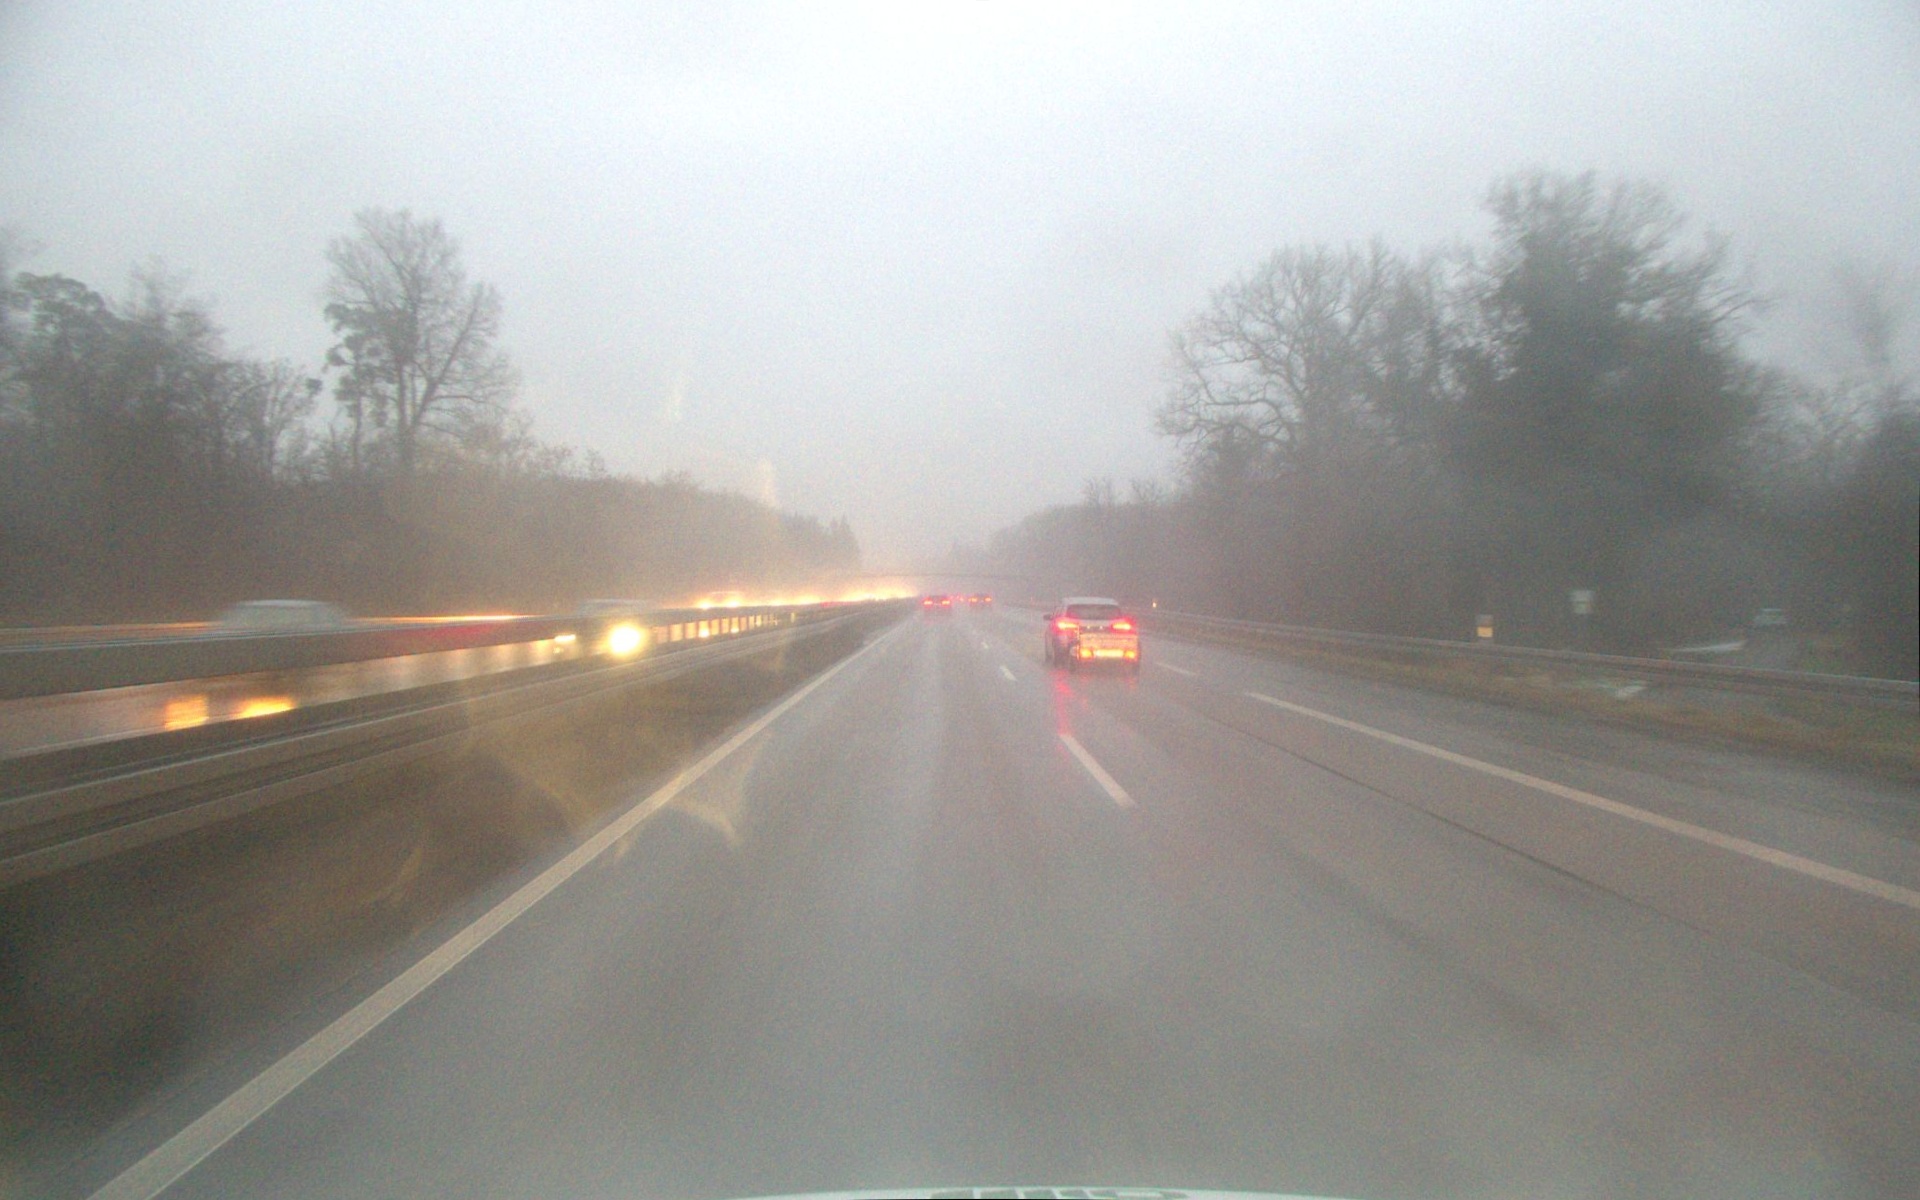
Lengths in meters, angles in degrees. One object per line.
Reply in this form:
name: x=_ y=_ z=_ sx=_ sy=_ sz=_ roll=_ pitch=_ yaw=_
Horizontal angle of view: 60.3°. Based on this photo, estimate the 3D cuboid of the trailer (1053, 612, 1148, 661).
trailer: x=2.944 y=0.754 z=35.236 sx=1.712 sy=0.941 sz=2.950 roll=-1 pitch=0 yaw=-1

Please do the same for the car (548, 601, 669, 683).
car: x=-7.621 y=0.858 z=36.257 sx=1.664 sy=1.532 sz=4.409 roll=-5 pitch=0 yaw=-1

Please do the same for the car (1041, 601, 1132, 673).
car: x=2.906 y=0.818 z=38.614 sx=1.750 sy=1.543 sz=3.810 roll=-1 pitch=0 yaw=-1

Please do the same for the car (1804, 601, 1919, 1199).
car: x=3.212 y=0.766 z=2.943 sx=1.562 sy=1.517 sz=3.593 roll=0 pitch=0 yaw=-1

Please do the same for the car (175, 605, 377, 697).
car: x=-11.717 y=0.822 z=28.657 sx=1.720 sy=1.432 sz=4.409 roll=0 pitch=0 yaw=-1
